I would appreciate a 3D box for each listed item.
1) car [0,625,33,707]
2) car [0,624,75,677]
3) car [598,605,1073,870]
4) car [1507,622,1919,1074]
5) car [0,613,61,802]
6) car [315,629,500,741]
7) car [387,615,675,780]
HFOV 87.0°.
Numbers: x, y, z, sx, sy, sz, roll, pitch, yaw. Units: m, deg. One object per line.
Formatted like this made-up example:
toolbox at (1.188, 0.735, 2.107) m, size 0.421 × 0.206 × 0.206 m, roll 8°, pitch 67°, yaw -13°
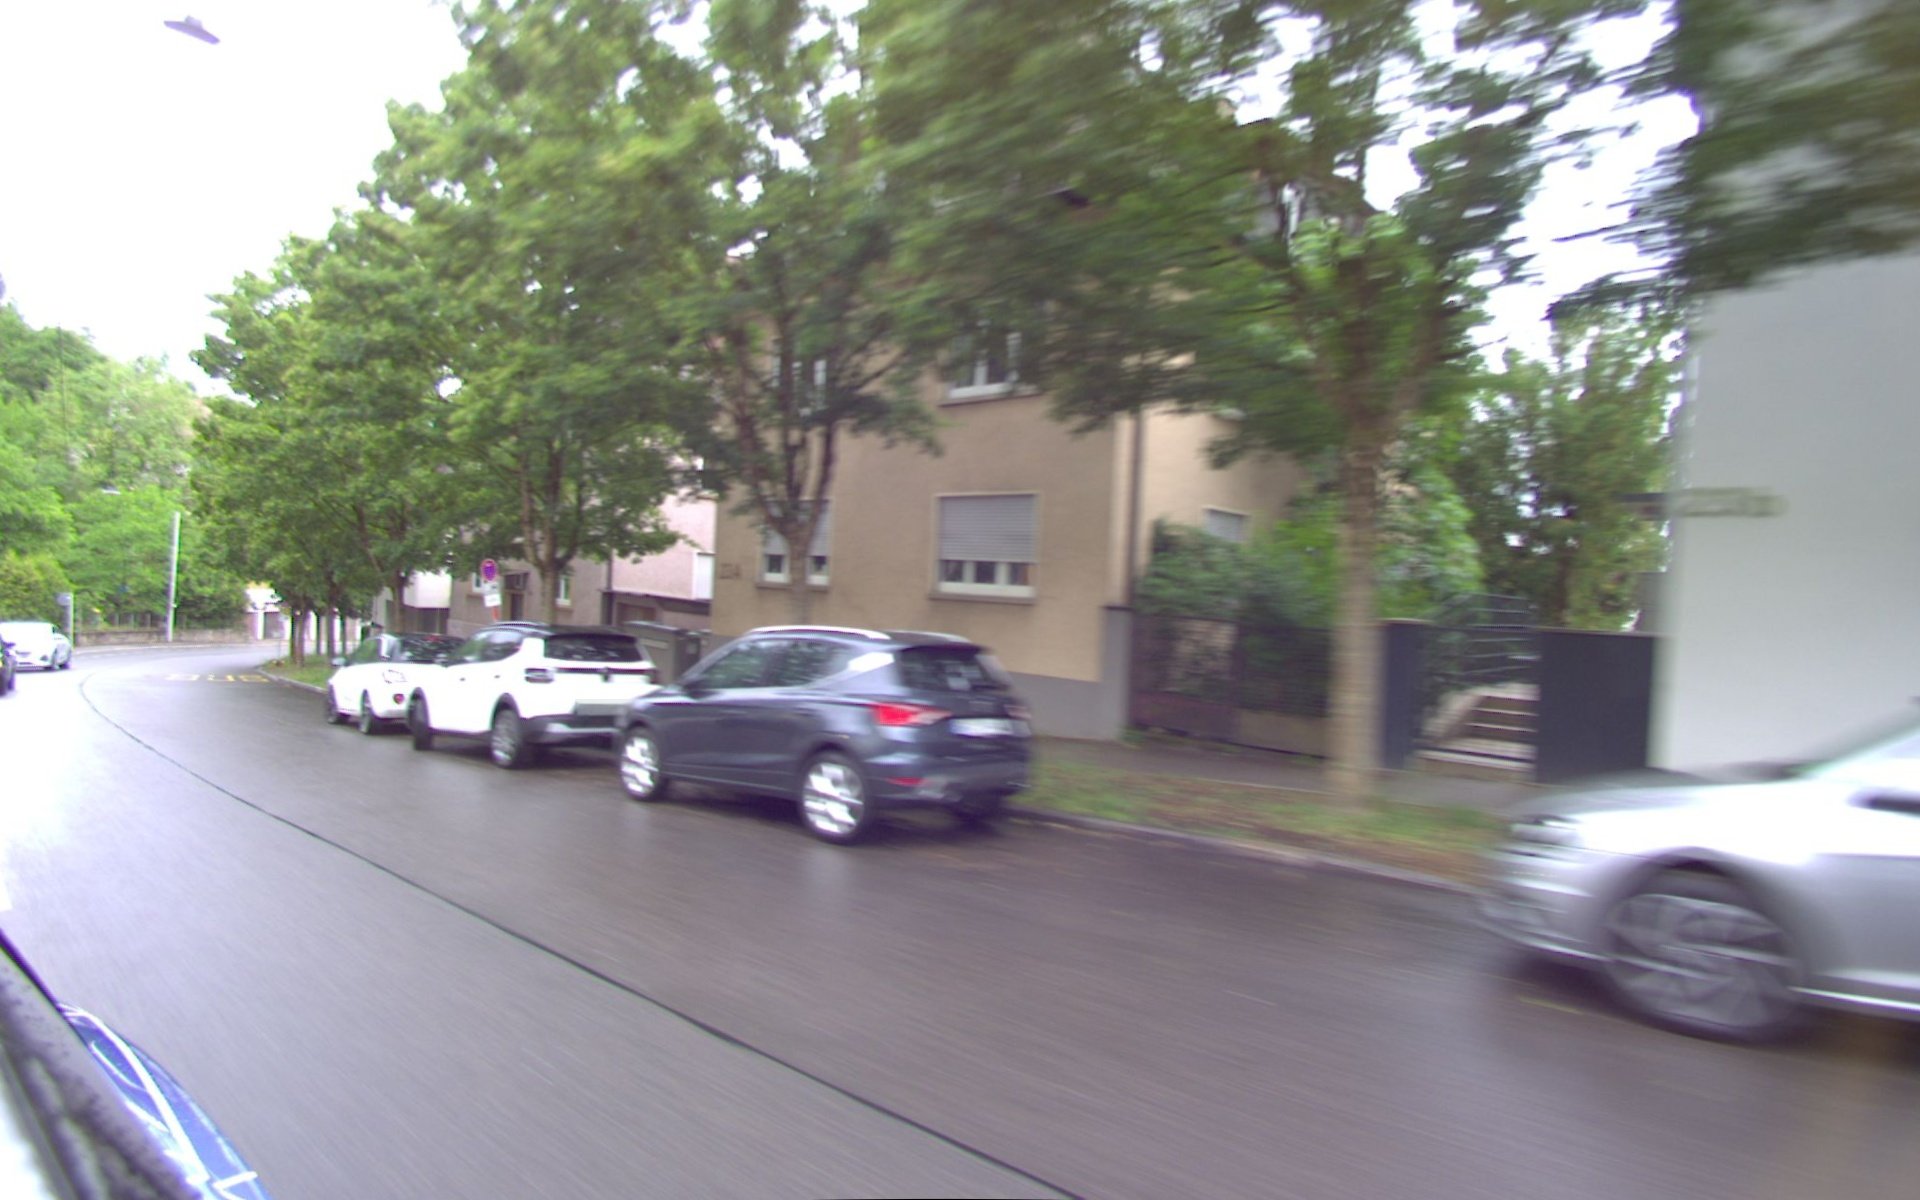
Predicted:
car at (-19.281, 1.213, 19.340) m, size 4.014 × 1.500 × 1.784 m, roll -1°, pitch -4°, yaw 40°
car at (-31.347, 1.660, 33.875) m, size 1.980 × 1.674 × 4.457 m, roll 3°, pitch -3°, yaw -34°
car at (-1.172, 0.954, 8.335) m, size 3.922 × 1.671 × 1.601 m, roll -1°, pitch -6°, yaw 41°
car at (4.289, 0.890, 3.521) m, size 3.969 × 1.481 × 1.601 m, roll 0°, pitch -5°, yaw 40°
car at (-7.869, 0.782, 7.102) m, size 1.552 × 1.463 × 3.597 m, roll 3°, pitch -4°, yaw -30°
car at (-8.610, 1.263, 15.644) m, size 1.598 × 1.482 × 3.673 m, roll 9°, pitch -7°, yaw -41°
car at (-5.250, 1.091, 12.171) m, size 3.923 × 1.671 × 1.575 m, roll -1°, pitch -7°, yaw 43°
